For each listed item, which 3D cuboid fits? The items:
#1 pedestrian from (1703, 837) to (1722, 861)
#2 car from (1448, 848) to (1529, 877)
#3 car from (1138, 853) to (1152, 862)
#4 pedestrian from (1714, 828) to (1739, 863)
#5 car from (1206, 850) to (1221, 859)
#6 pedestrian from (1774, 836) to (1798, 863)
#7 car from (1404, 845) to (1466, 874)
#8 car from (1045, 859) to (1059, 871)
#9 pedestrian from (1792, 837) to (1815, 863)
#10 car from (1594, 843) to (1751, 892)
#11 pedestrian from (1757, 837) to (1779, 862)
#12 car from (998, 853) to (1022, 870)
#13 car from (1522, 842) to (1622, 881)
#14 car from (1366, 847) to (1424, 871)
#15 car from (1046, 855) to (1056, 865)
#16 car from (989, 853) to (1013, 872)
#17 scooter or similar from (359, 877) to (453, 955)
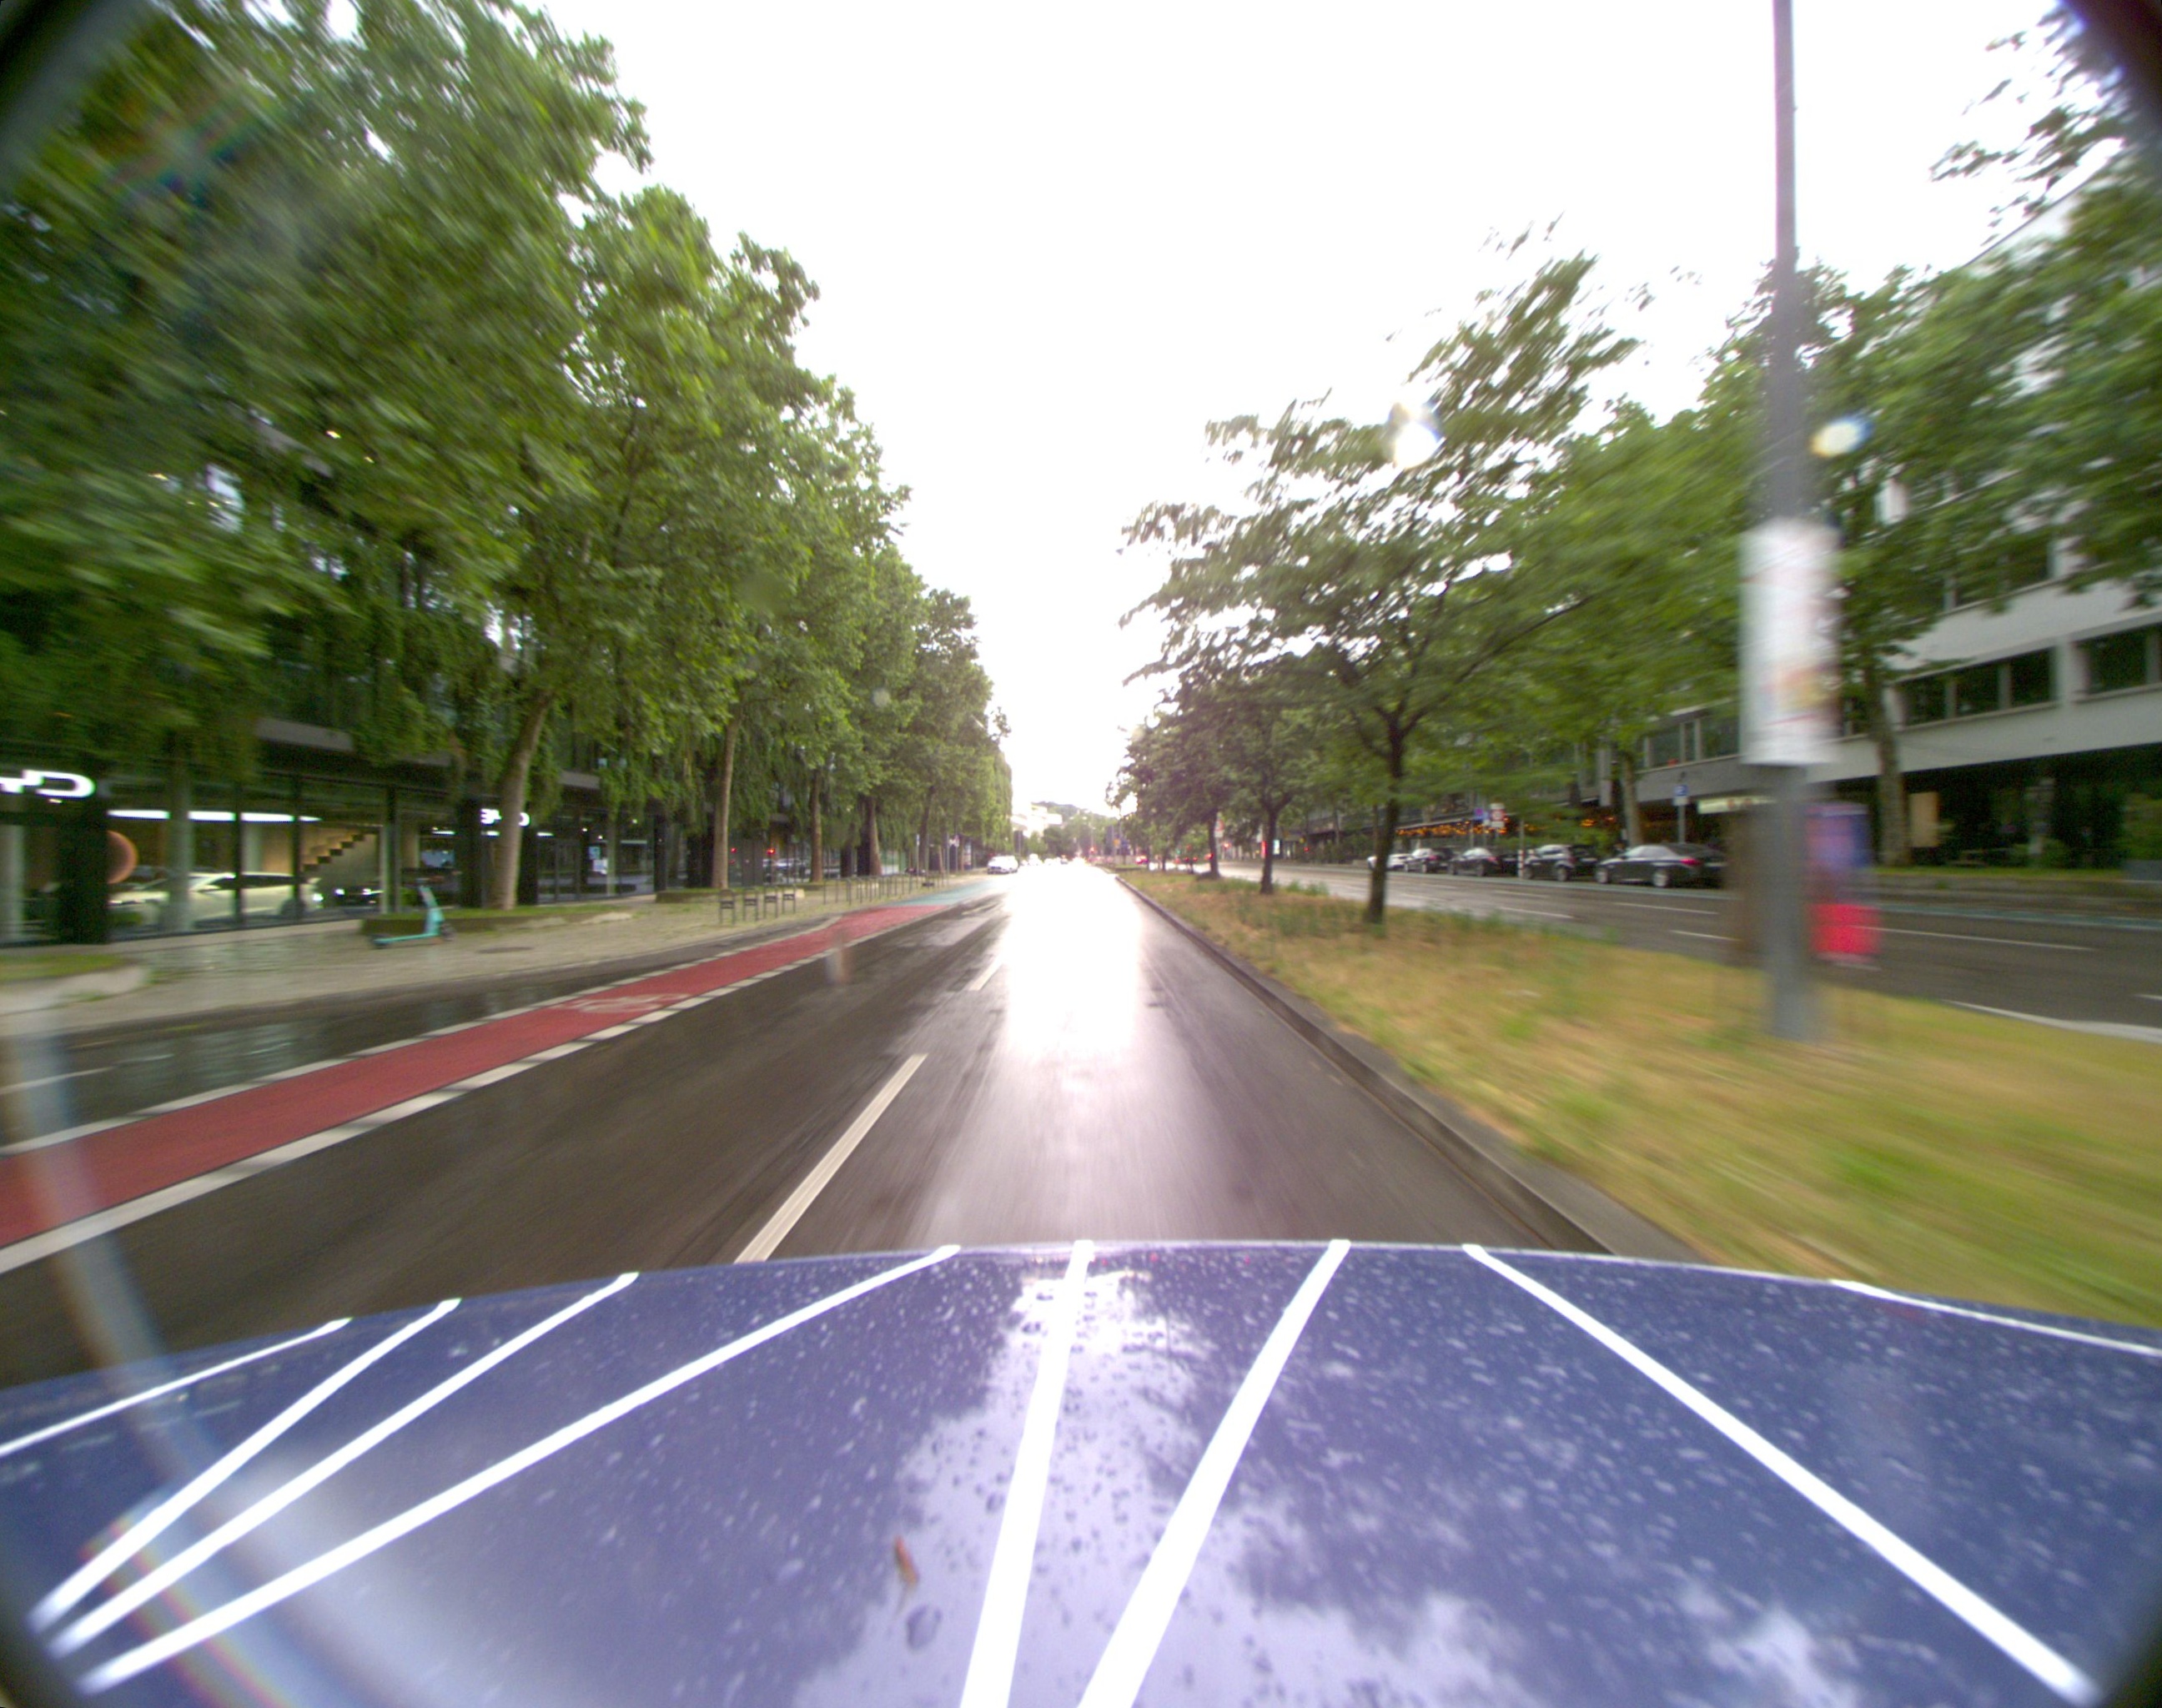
[{"bbox_3d":[27.305,-0.200,32.872,0.464,1.010,0.424,-3,2,-2],"label":"pedestrian"},{"bbox_3d":[19.650,0.362,36.852,1.647,1.232,4.318,-3,1,2],"label":"car"},{"bbox_3d":[10.388,0.595,123.681,1.678,1.381,3.527,-3,1,-3],"label":"car"},{"bbox_3d":[30.440,-0.401,35.842,0.606,1.638,0.623,-3,2,-4],"label":"pedestrian"},{"bbox_3d":[21.109,0.108,121.037,1.765,1.318,3.737,-3,1,1],"label":"car"},{"bbox_3d":[27.326,-0.177,29.440,0.486,0.995,0.490,-3,2,-15],"label":"pedestrian"},{"bbox_3d":[19.865,0.259,42.774,1.750,1.445,3.788,-3,1,1],"label":"car"},{"bbox_3d":[-4.072,1.498,106.298,1.780,1.546,3.929,-3,1,0],"label":"car"},{"bbox_3d":[27.481,-0.161,28.909,0.458,0.958,0.453,-3,2,-15],"label":"pedestrian"},{"bbox_3d":[19.590,0.390,25.465,1.875,1.377,4.537,-2,1,3],"label":"car"},{"bbox_3d":[27.210,-0.182,30.077,0.459,0.987,0.463,-3,2,-15],"label":"pedestrian"},{"bbox_3d":[-7.578,0.773,81.320,2.036,1.553,4.584,-3,1,1],"label":"car"},{"bbox_3d":[19.763,0.247,30.765,1.875,1.414,3.400,-3,1,1],"label":"car"},{"bbox_3d":[19.974,0.299,48.545,1.881,1.318,4.391,-3,1,1],"label":"car"},{"bbox_3d":[-5.210,0.963,131.097,1.557,1.534,3.663,-3,1,0],"label":"car"},{"bbox_3d":[-7.898,0.826,75.240,1.932,1.726,4.597,-3,1,-1],"label":"car"},{"bbox_3d":[-12.086,1.077,13.644,1.187,1.275,0.535,-3,2,-40],"label":"scooter or similar"}]
